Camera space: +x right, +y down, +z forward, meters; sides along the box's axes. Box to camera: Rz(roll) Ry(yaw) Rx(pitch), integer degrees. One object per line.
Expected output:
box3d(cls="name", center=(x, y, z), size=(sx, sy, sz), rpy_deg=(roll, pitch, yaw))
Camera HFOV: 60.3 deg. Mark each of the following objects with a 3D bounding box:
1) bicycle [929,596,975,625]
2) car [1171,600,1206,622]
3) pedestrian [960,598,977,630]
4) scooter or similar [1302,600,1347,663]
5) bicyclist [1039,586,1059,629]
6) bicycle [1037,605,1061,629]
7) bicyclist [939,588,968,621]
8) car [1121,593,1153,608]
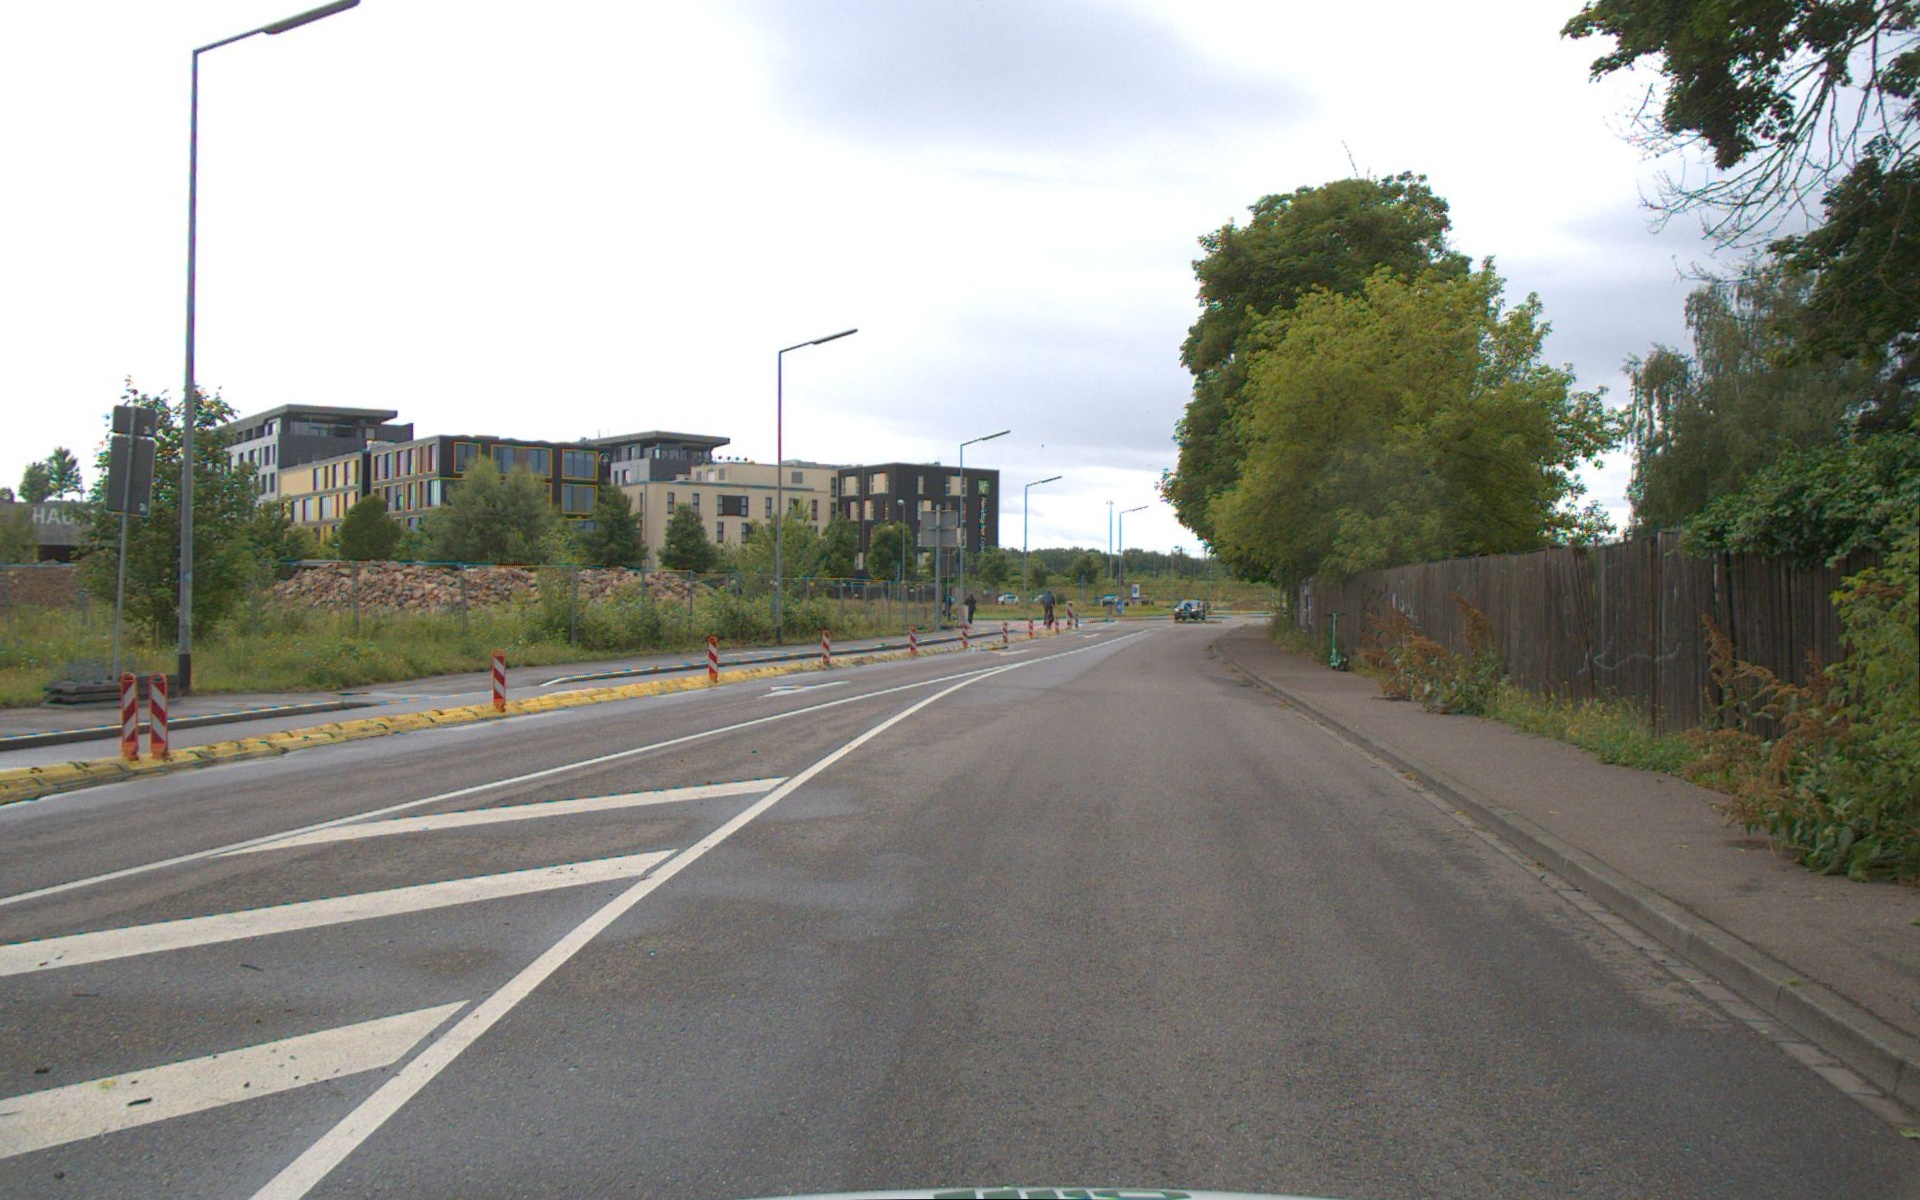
box3d(cls="bicycle", center=(-0.487, 0.597, 96.135), size=(2.458, 1.611, 1.079), rpy_deg=(0, 1, -24))
box3d(cls="car", center=(17.930, 0.835, 129.779), size=(1.842, 1.594, 4.359), rpy_deg=(0, 1, 20))
box3d(cls="pedestrian", center=(0.497, 0.776, 94.386), size=(0.826, 1.814, 1.078), rpy_deg=(0, 1, 7))
box3d(cls="scooter or similar", center=(8.125, 0.678, 36.909), size=(0.676, 1.335, 2.354), rpy_deg=(0, 1, 5))
box3d(cls="bicyclist", center=(4.306, 0.369, 79.867), size=(0.843, 2.049, 1.178), rpy_deg=(0, 1, 11))
box3d(cls="bicycle", center=(4.299, 0.798, 79.826), size=(0.865, 1.070, 2.471), rpy_deg=(0, 1, 11))
box3d(cls="bicyclist", center=(-0.366, 0.264, 96.185), size=(1.379, 1.932, 1.069), rpy_deg=(0, 1, -24))
box3d(cls="car", center=(22.557, 0.061, 211.163), size=(1.978, 1.854, 3.949), rpy_deg=(0, 1, -36))
